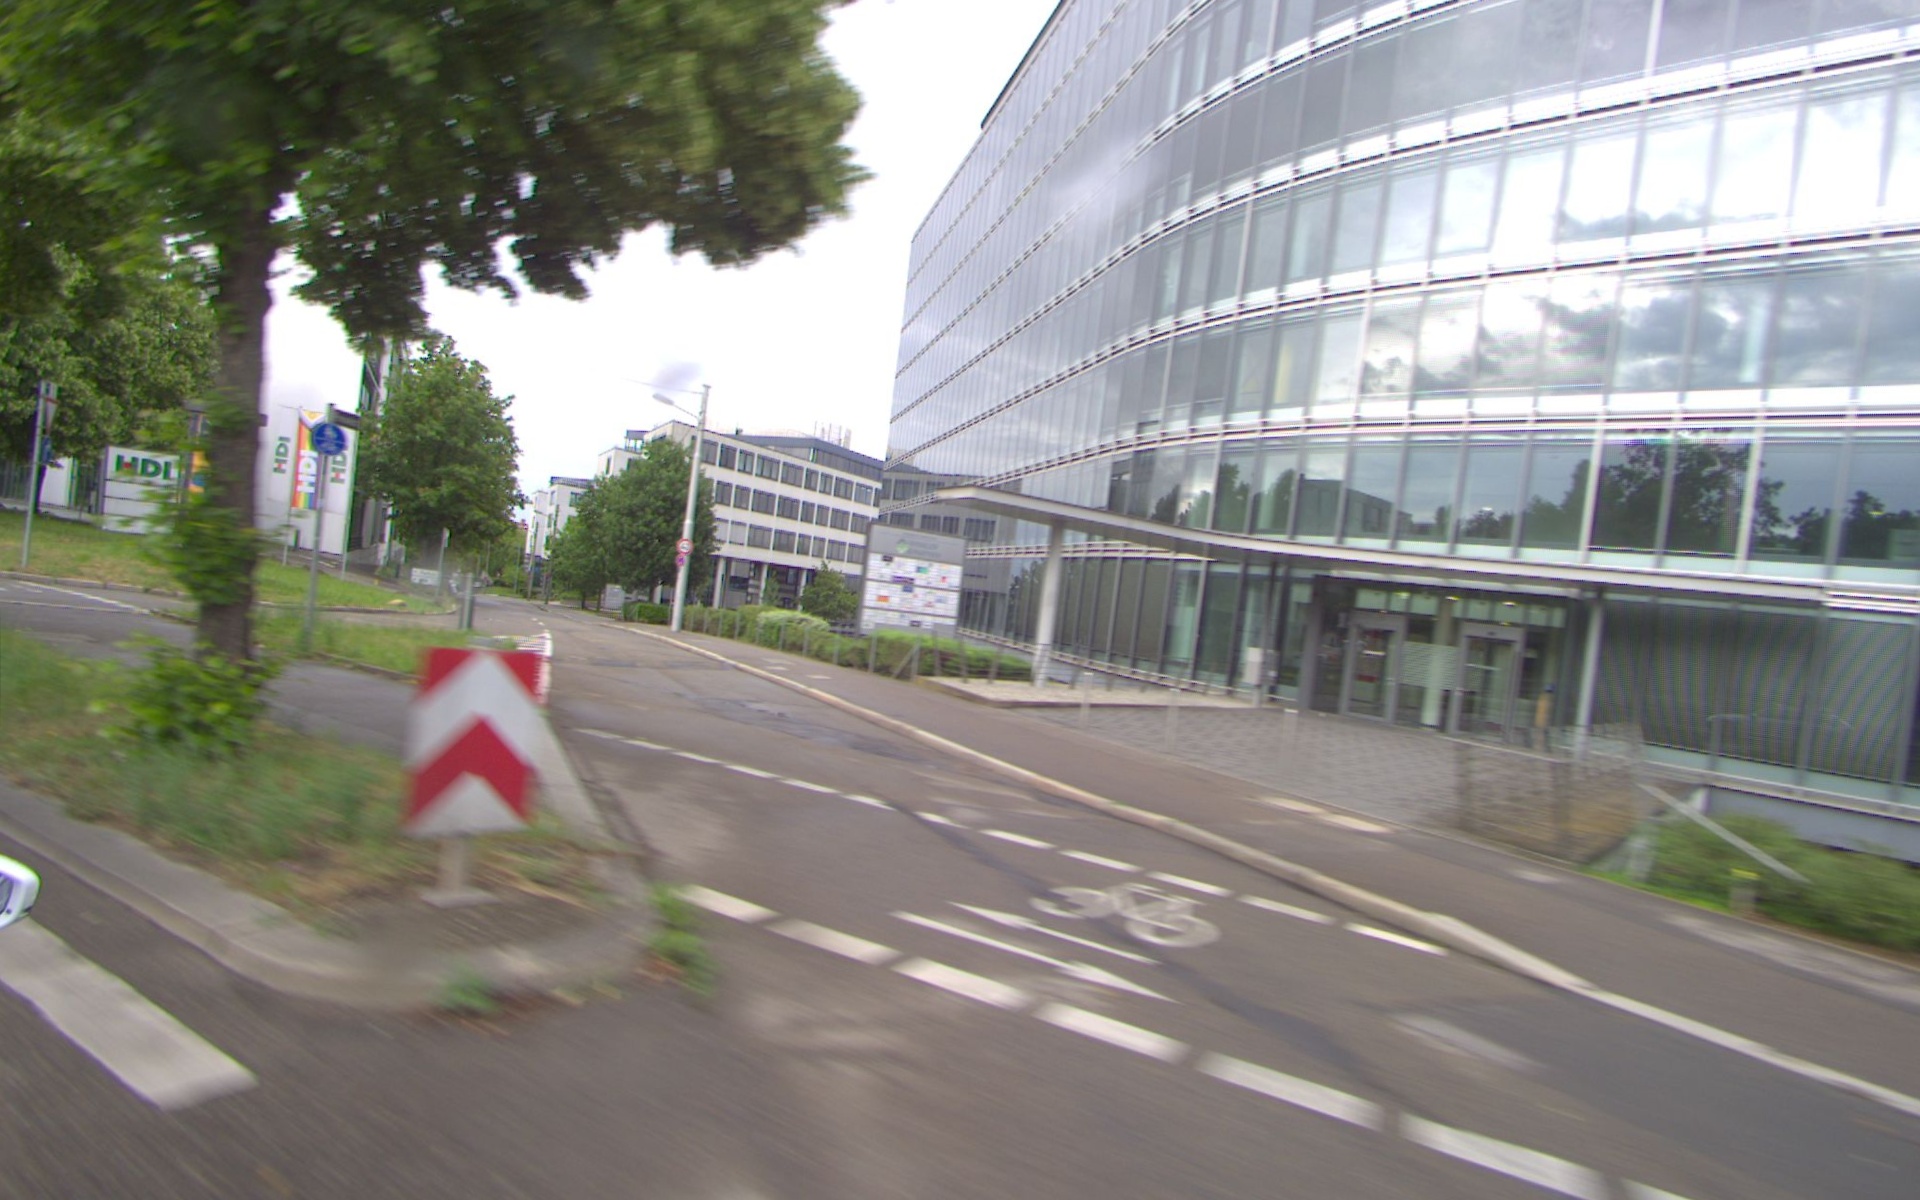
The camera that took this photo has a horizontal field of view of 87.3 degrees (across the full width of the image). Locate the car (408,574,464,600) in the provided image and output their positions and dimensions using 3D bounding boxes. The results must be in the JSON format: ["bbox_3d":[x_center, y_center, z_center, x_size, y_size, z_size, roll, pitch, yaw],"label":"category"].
[{"bbox_3d":[-46.207,-1.126,88.722,3.967,1.737,1.980,8,-1,-37],"label":"car"}]
